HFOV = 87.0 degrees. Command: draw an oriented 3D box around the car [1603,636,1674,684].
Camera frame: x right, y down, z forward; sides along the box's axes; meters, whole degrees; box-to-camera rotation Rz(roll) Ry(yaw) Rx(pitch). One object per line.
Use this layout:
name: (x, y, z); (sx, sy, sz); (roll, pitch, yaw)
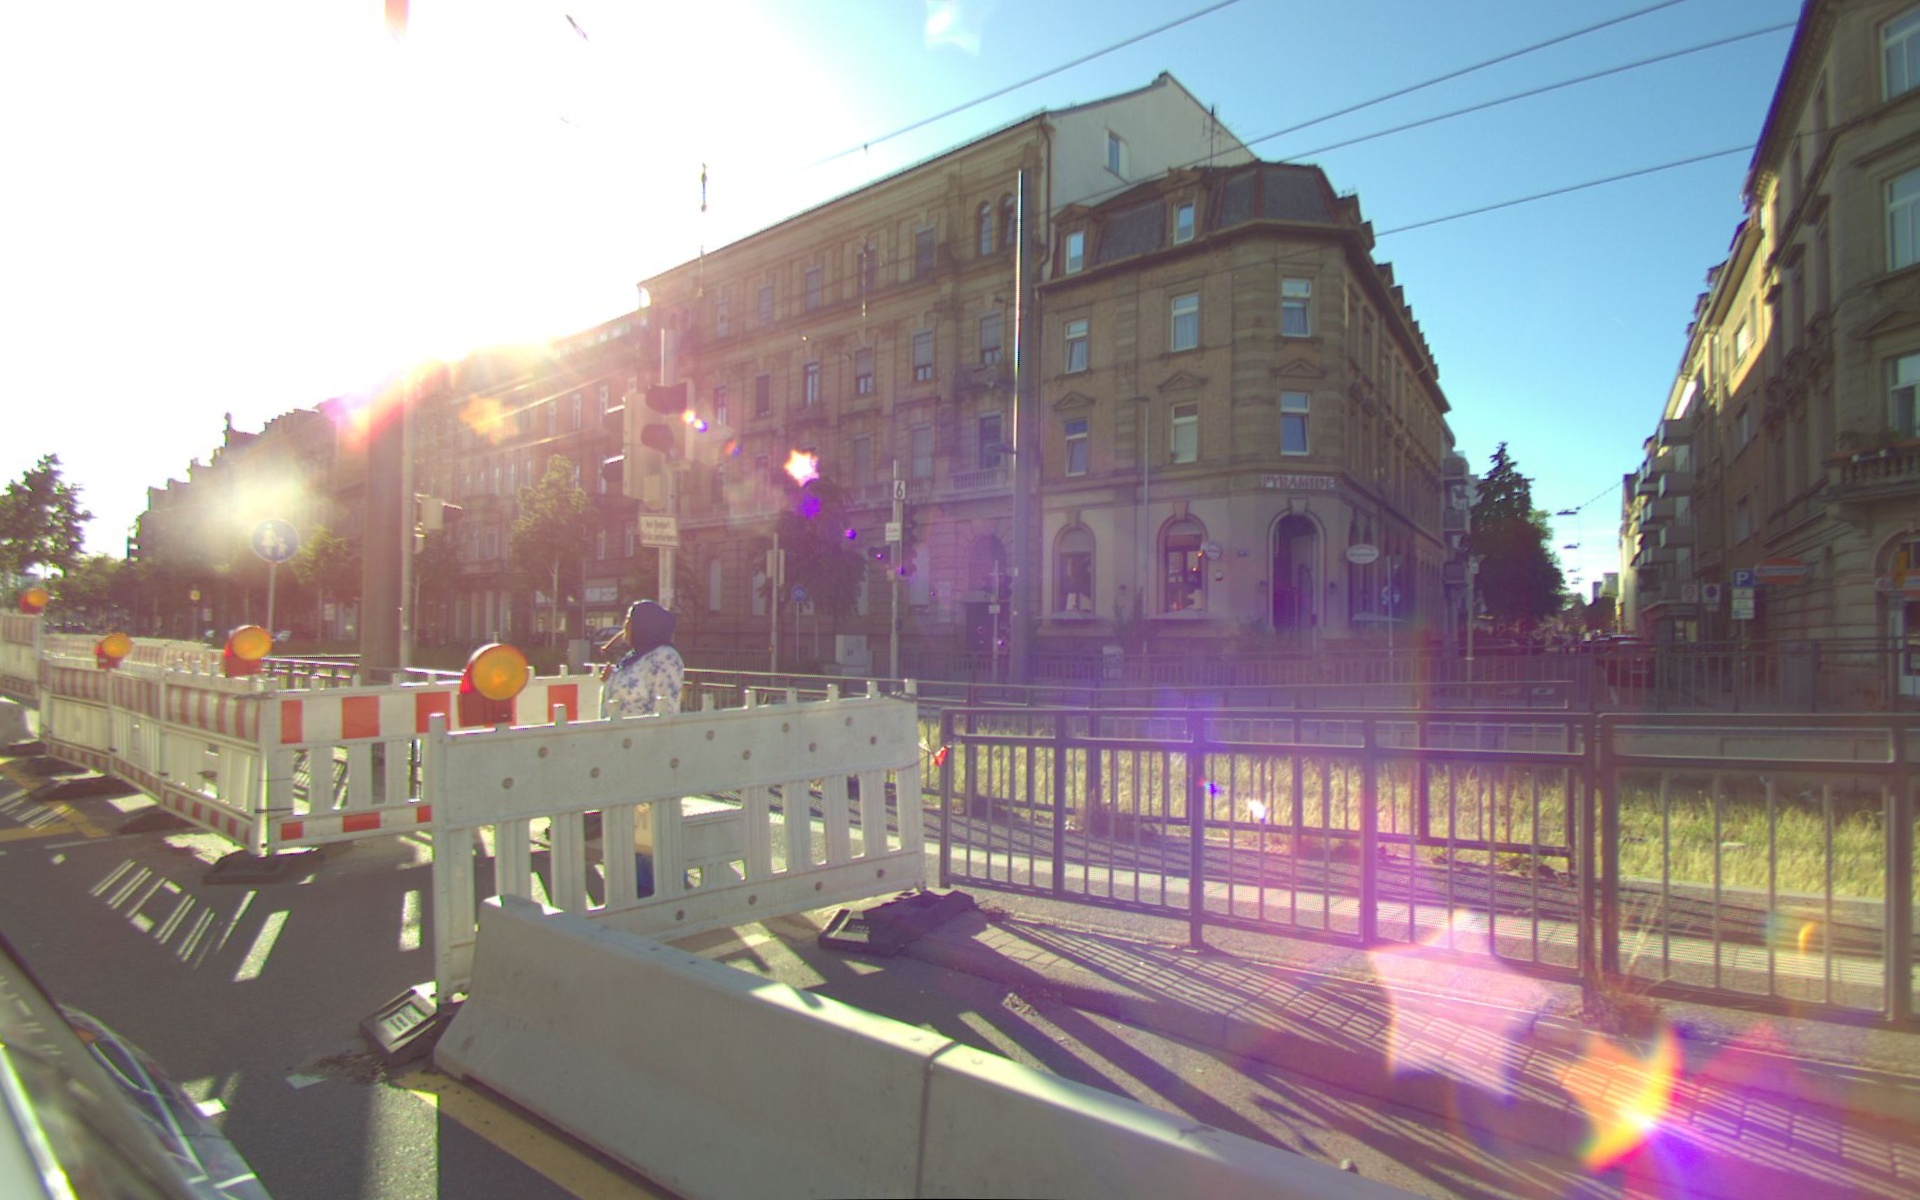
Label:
car: (23.184, 2.001, 34.709); (1.820, 1.530, 3.957); (0, -2, 31)

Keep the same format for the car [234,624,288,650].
car: (-49.915, 2.606, 72.262); (4.884, 1.710, 1.973); (-1, -1, 40)

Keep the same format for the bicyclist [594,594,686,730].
bicyclist: (-4.371, 0.831, 13.864); (0.848, 1.787, 0.880); (0, -2, 15)

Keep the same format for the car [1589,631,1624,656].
car: (41.707, 2.812, 65.340); (1.731, 1.530, 3.752); (-1, -2, 31)

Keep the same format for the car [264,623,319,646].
car: (-44.861, 2.299, 67.906); (4.305, 1.449, 1.973); (-1, -1, 40)

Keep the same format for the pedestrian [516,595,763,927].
pedestrian: (-1.613, 0.729, 5.099); (0.946, 1.469, 0.781); (-1, -3, 39)

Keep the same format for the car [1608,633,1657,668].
car: (31.525, 2.347, 47.503); (1.731, 1.530, 3.752); (0, -2, 31)

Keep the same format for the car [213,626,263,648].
car: (-54.580, 2.801, 76.453); (4.982, 1.549, 1.973); (-1, -1, 41)

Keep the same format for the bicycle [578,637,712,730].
bicycle: (-4.293, 1.106, 13.977); (0.848, 1.162, 1.988); (0, -2, 14)

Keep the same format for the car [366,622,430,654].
car: (-32.235, 2.145, 57.993); (4.544, 1.671, 1.917); (-1, -1, 43)

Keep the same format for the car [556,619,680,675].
car: (-10.929, 1.454, 32.181); (4.475, 1.652, 1.777); (-1, -2, 42)

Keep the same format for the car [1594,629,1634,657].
car: (36.517, 2.379, 56.561); (1.731, 1.530, 3.752); (0, -2, 31)
